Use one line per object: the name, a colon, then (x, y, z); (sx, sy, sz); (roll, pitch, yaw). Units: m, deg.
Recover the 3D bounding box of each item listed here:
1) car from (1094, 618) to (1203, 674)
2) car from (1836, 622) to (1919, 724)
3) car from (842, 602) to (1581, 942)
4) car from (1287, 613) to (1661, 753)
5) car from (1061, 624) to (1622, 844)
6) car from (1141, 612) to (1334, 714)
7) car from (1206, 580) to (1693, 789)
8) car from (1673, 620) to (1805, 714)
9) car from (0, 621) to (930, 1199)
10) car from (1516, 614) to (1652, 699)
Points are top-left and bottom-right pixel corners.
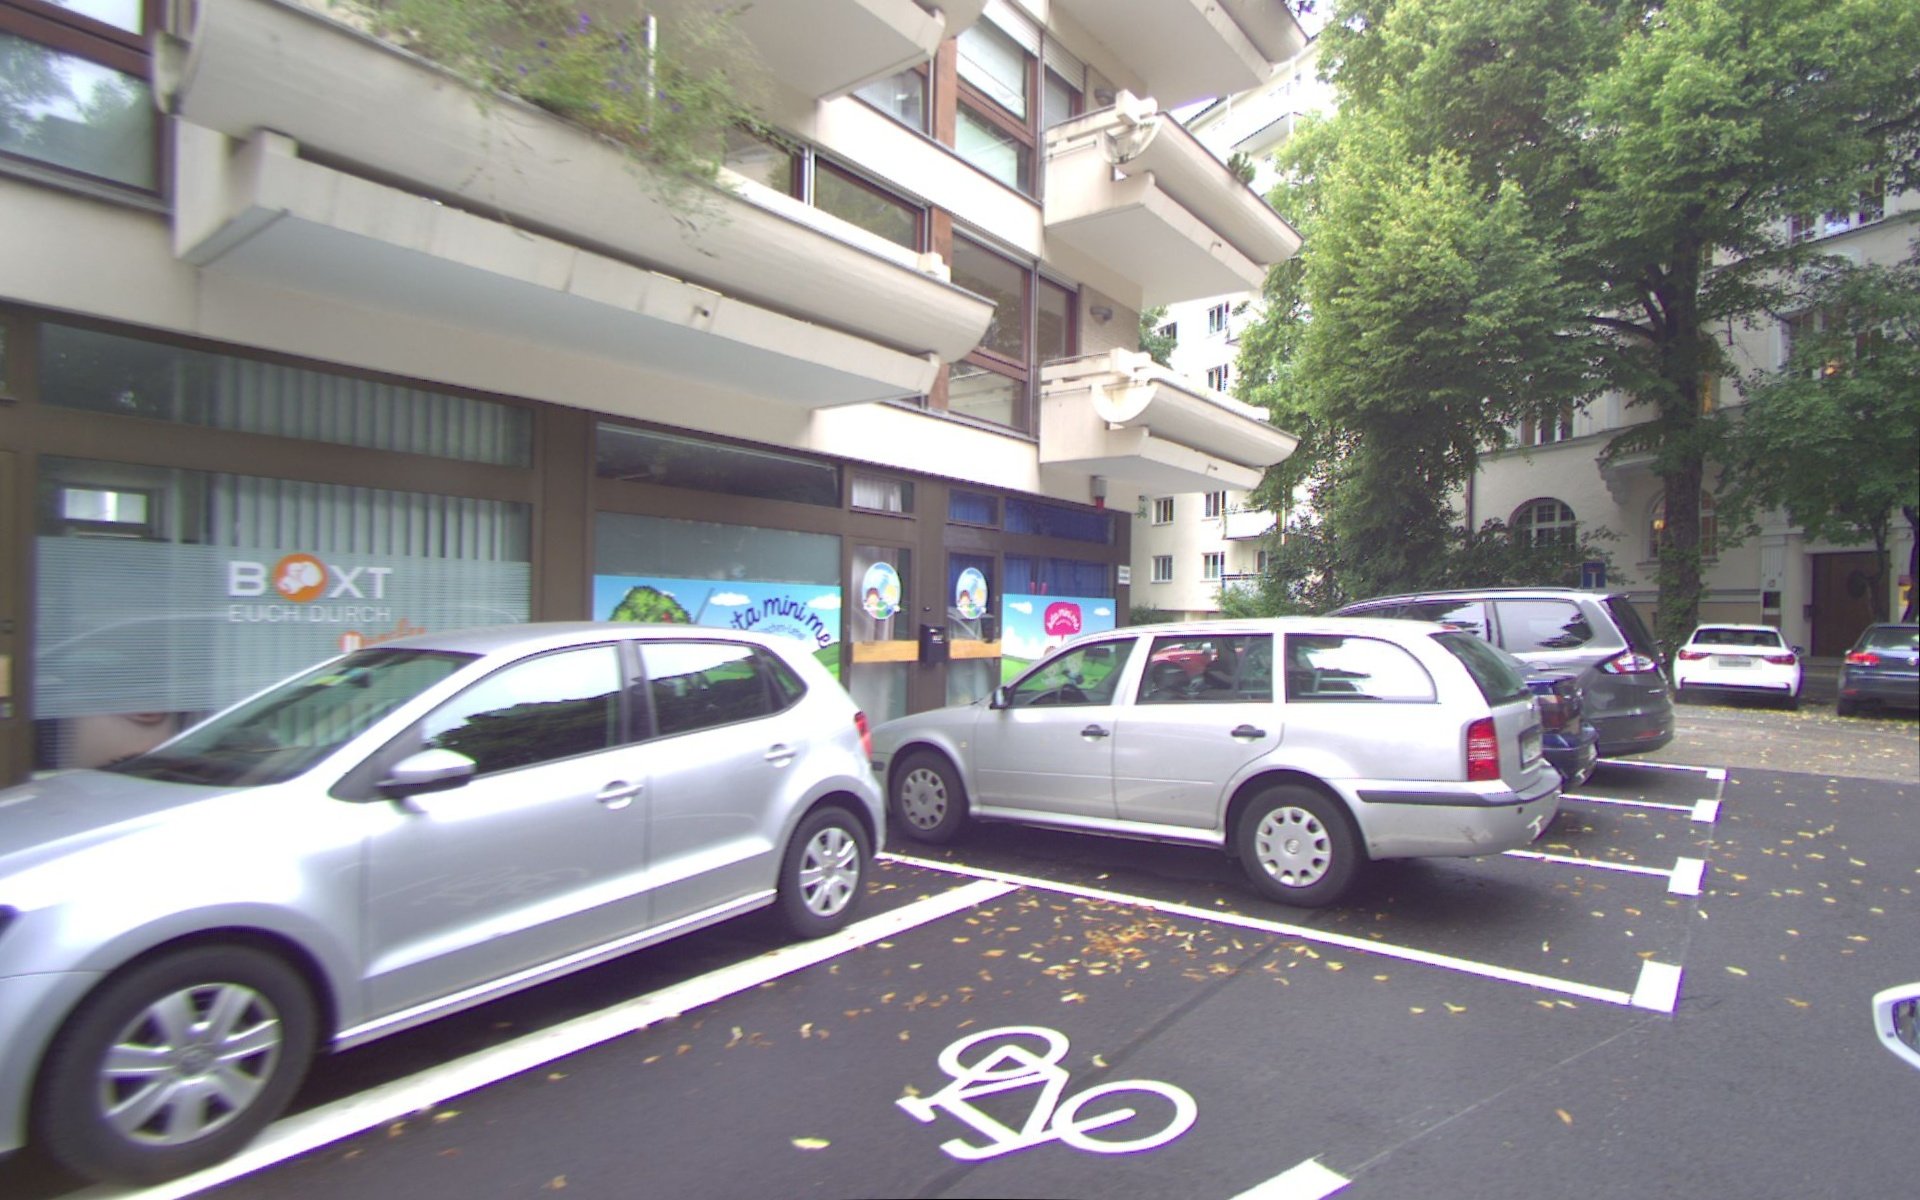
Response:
car: (5.964, 1.399, 31.515); (1.713, 1.622, 3.983); (-1, -2, 39)
car: (15.233, 1.096, 15.937); (1.773, 1.450, 3.975); (1, 0, 44)
car: (1.364, 0.835, 6.334); (4.175, 1.474, 1.714); (-3, -2, 38)
car: (6.382, 0.978, 12.639); (3.936, 1.498, 1.829); (-3, -3, 36)
car: (2.997, 0.926, 8.297); (4.008, 1.385, 1.711); (-2, -2, 38)
car: (5.063, 1.092, 18.353); (3.233, 1.653, 1.510); (1, 0, 19)
car: (4.859, 0.765, 10.238); (4.166, 1.706, 1.896); (-2, -2, 36)
car: (14.104, 1.112, 18.130); (1.698, 1.450, 3.981); (1, 0, 40)
car: (-1.897, 0.818, 3.965); (1.541, 1.440, 3.819); (-2, -2, 36)
car: (12.915, 1.080, 20.686); (1.847, 1.530, 3.981); (1, 0, 40)
